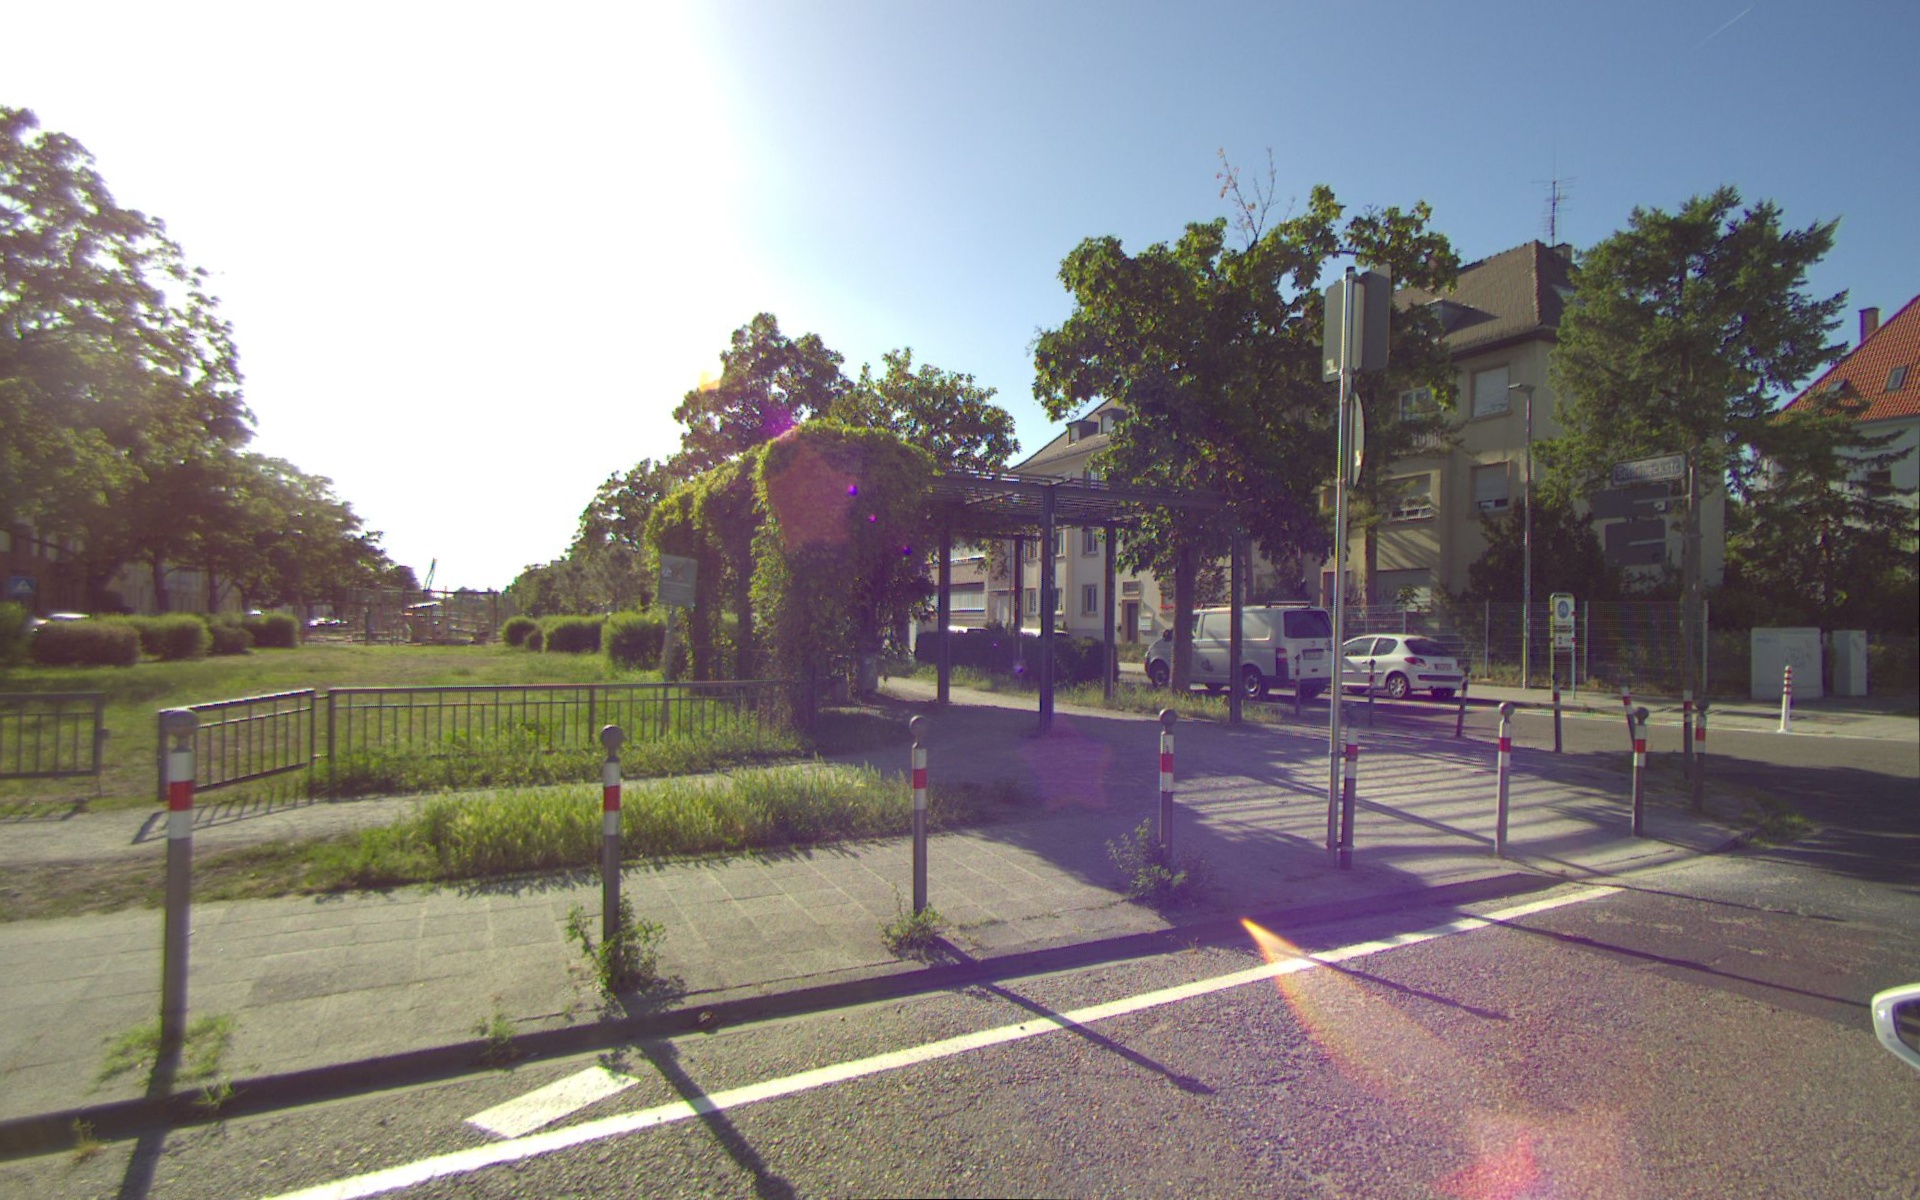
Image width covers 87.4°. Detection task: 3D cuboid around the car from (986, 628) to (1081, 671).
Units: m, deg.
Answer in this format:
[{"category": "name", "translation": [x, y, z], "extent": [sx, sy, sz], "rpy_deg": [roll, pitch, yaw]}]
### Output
[{"category": "car", "translation": [2.688, 1.839, 37.770], "extent": [1.778, 1.514, 3.974], "rpy_deg": [2, -2, -26]}]

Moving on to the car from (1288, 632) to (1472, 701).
[{"category": "car", "translation": [9.647, 1.497, 23.347], "extent": [1.685, 1.416, 3.751], "rpy_deg": [2, -2, -27]}]

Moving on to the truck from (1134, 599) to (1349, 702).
[{"category": "truck", "translation": [6.195, 1.079, 22.738], "extent": [1.974, 2.063, 4.841], "rpy_deg": [1, -2, -27]}]

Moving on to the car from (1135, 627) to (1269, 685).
[{"category": "car", "translation": [6.820, 1.558, 28.630], "extent": [1.655, 1.514, 3.801], "rpy_deg": [2, -2, -26]}]

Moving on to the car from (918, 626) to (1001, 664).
[{"category": "car", "translation": [-0.060, 1.907, 43.284], "extent": [1.781, 1.514, 3.967], "rpy_deg": [3, -2, -31]}]
